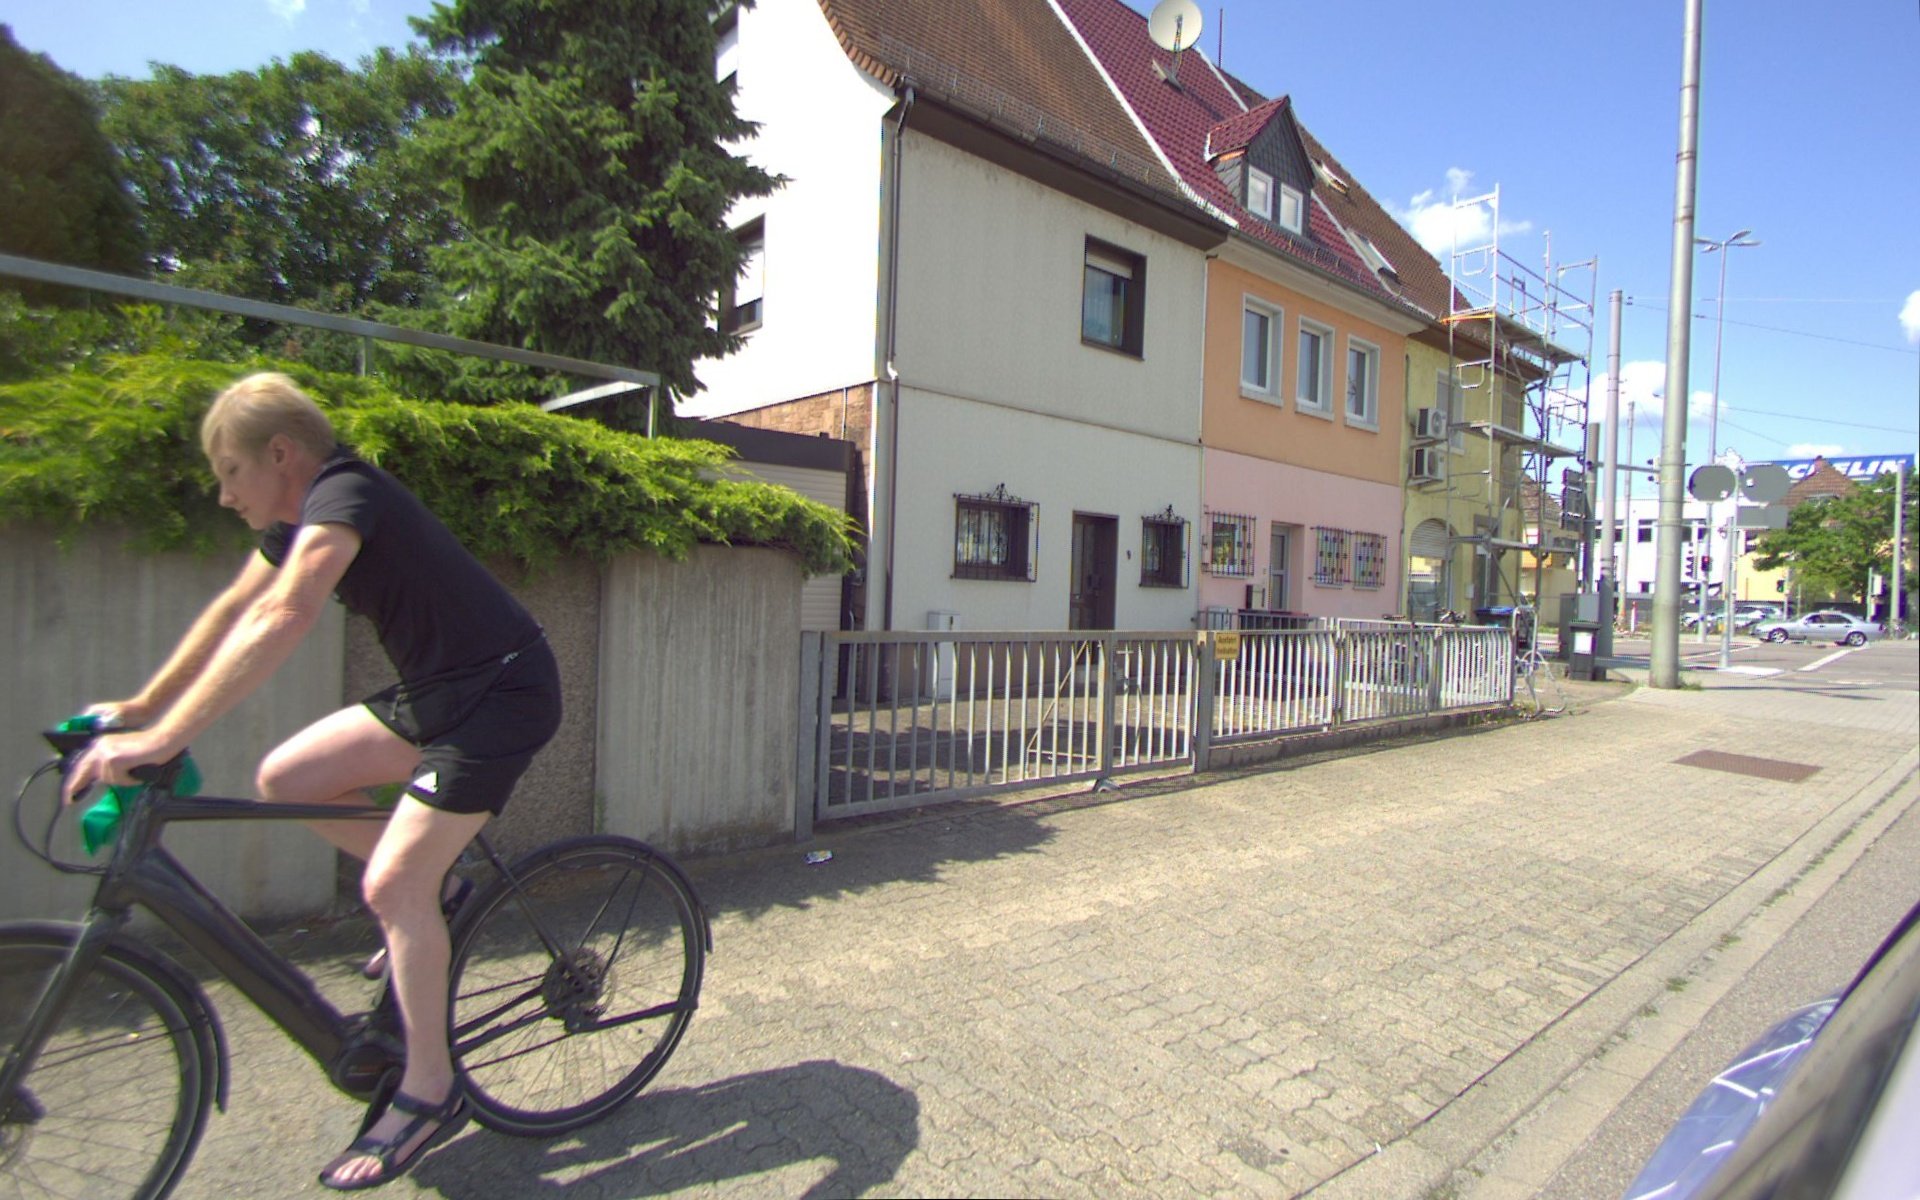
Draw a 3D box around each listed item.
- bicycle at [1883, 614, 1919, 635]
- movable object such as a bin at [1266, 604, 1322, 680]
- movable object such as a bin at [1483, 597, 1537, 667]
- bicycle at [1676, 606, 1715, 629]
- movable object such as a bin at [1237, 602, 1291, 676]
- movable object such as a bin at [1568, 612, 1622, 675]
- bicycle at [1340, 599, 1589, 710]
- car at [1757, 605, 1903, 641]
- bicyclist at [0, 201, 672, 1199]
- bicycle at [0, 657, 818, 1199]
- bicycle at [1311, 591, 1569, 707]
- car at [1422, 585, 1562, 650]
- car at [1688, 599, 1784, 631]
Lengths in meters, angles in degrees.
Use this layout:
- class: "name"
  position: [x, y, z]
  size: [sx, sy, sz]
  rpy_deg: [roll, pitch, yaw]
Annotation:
- class: "bicycle"
  position: [47.205, 1.210, 50.573]
  size: [1.722, 1.031, 0.463]
  rpy_deg: [0, 0, -1]
- class: "movable object such as a bin"
  position: [4.428, 0.547, 13.418]
  size: [0.548, 0.958, 0.469]
  rpy_deg: [0, 1, -41]
- class: "movable object such as a bin"
  position: [9.079, 0.515, 16.704]
  size: [0.840, 1.119, 0.512]
  rpy_deg: [0, 1, -41]
- class: "bicycle"
  position: [37.698, 0.902, 51.906]
  size: [1.555, 1.152, 0.379]
  rpy_deg: [0, 0, 22]
- class: "movable object such as a bin"
  position: [4.135, 0.518, 13.773]
  size: [0.548, 0.958, 0.469]
  rpy_deg: [0, 2, -41]
- class: "movable object such as a bin"
  position: [9.937, 0.670, 15.847]
  size: [0.728, 0.930, 0.512]
  rpy_deg: [0, 1, -41]
- class: "bicycle"
  position: [6.225, 0.610, 12.668]
  size: [0.772, 1.118, 2.667]
  rpy_deg: [0, 3, -41]
- class: "car"
  position: [37.352, 0.967, 43.594]
  size: [4.418, 1.415, 1.711]
  rpy_deg: [1, 0, 26]
- class: "bicyclist"
  position: [-1.293, 0.341, 2.031]
  size: [1.065, 1.816, 0.830]
  rpy_deg: [2, 2, -41]
- class: "bicycle"
  position: [-1.348, 0.717, 2.008]
  size: [1.936, 1.088, 0.830]
  rpy_deg: [2, 2, -41]
- class: "bicycle"
  position: [5.679, 0.522, 12.197]
  size: [0.679, 1.133, 2.731]
  rpy_deg: [0, 3, -41]
- class: "car"
  position: [14.286, 0.426, 27.086]
  size: [4.059, 1.616, 1.997]
  rpy_deg: [0, 0, -41]
- class: "car"
  position: [43.416, 0.828, 56.690]
  size: [4.105, 1.617, 1.772]
  rpy_deg: [2, 0, 43]
